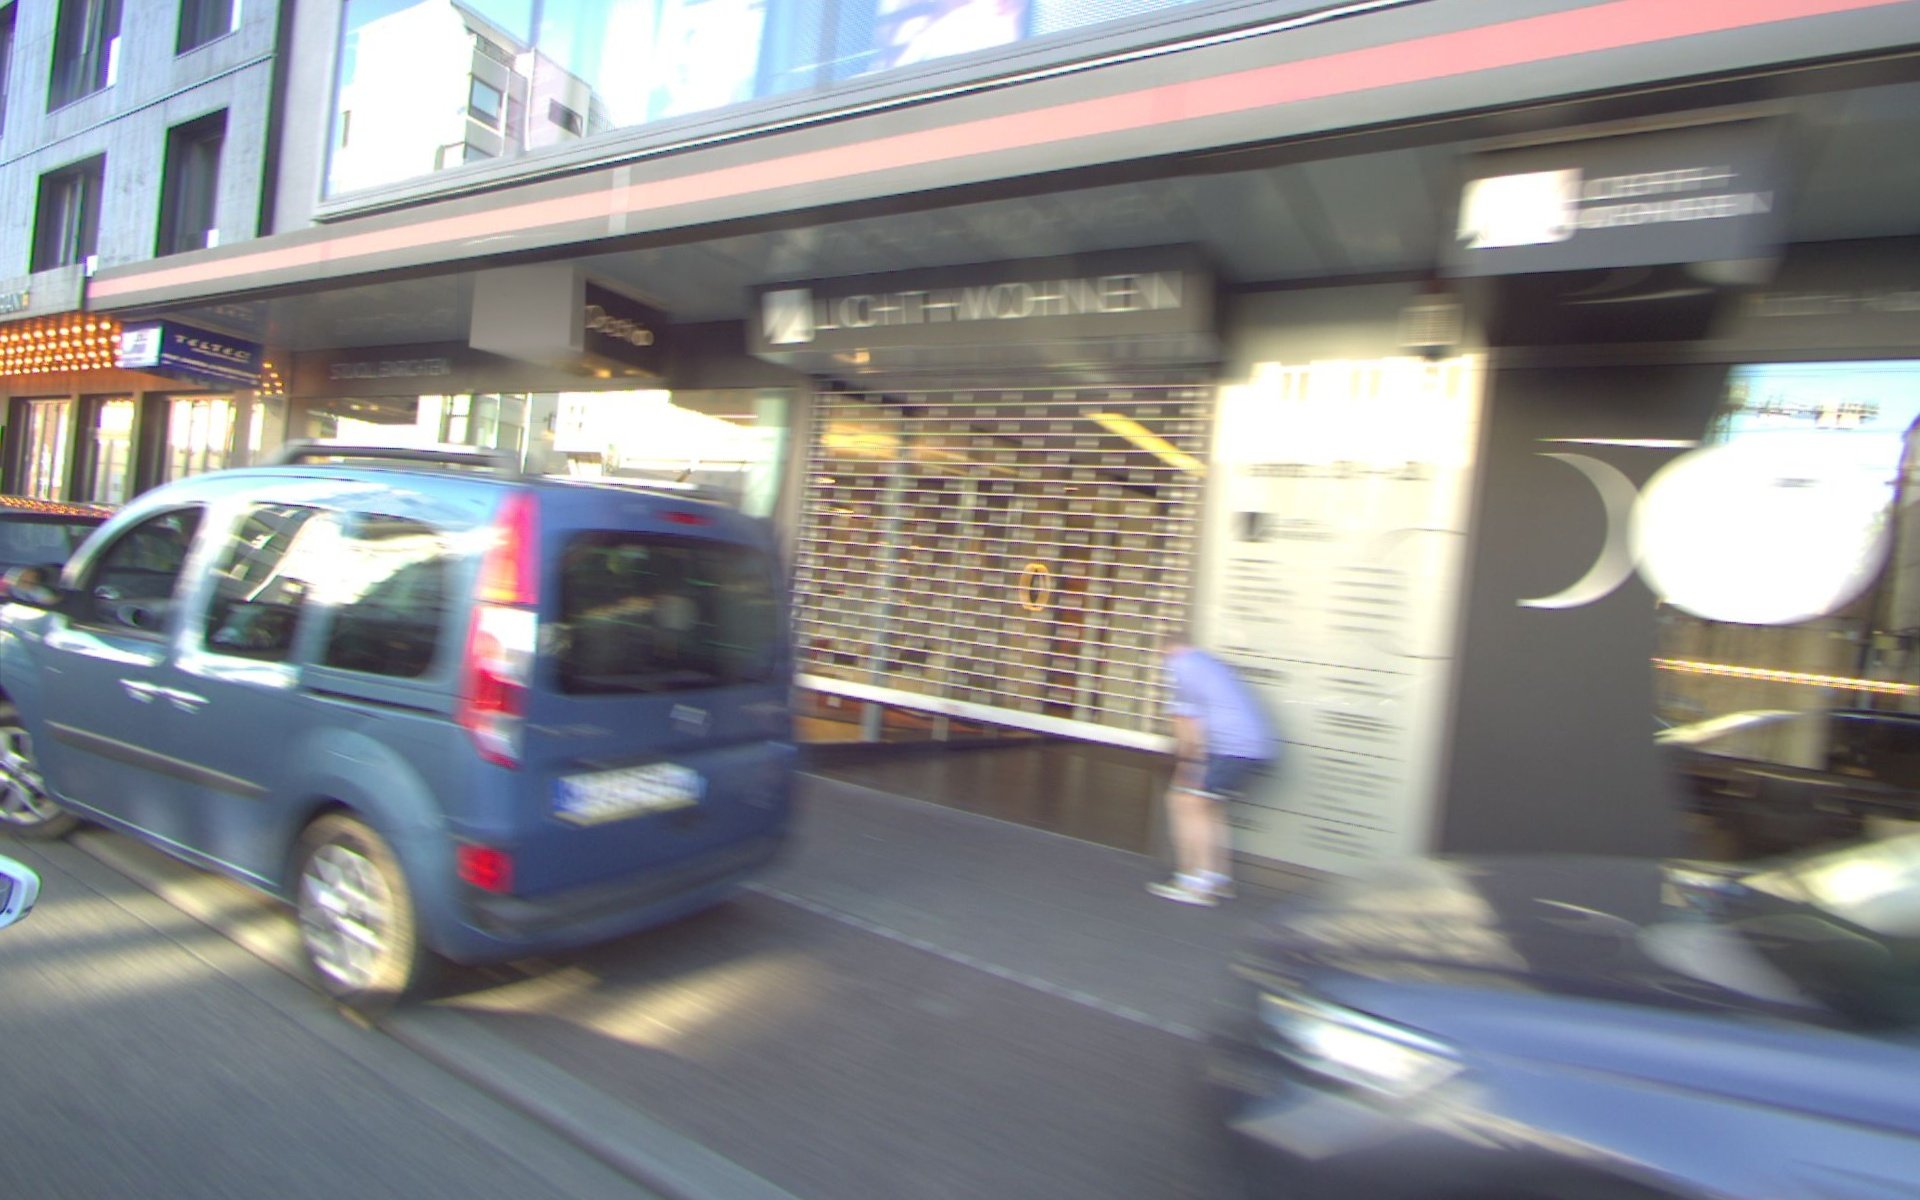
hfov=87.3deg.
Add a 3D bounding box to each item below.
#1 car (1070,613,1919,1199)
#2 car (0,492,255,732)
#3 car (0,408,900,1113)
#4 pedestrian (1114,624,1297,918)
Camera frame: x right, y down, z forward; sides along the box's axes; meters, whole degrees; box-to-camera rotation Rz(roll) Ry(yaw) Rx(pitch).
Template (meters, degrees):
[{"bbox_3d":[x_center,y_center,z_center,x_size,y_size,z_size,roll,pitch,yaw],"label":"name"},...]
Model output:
[{"bbox_3d":[2.478,1.044,1.571,4.216,1.598,1.764,6,2,31],"label":"car"},{"bbox_3d":[-7.579,-0.091,7.903,4.343,1.504,1.722,6,2,32],"label":"car"},{"bbox_3d":[-2.721,0.276,4.542,4.471,1.883,1.819,6,1,28],"label":"car"},{"bbox_3d":[1.371,0.898,5.612,0.719,1.458,0.575,6,3,31],"label":"pedestrian"}]
